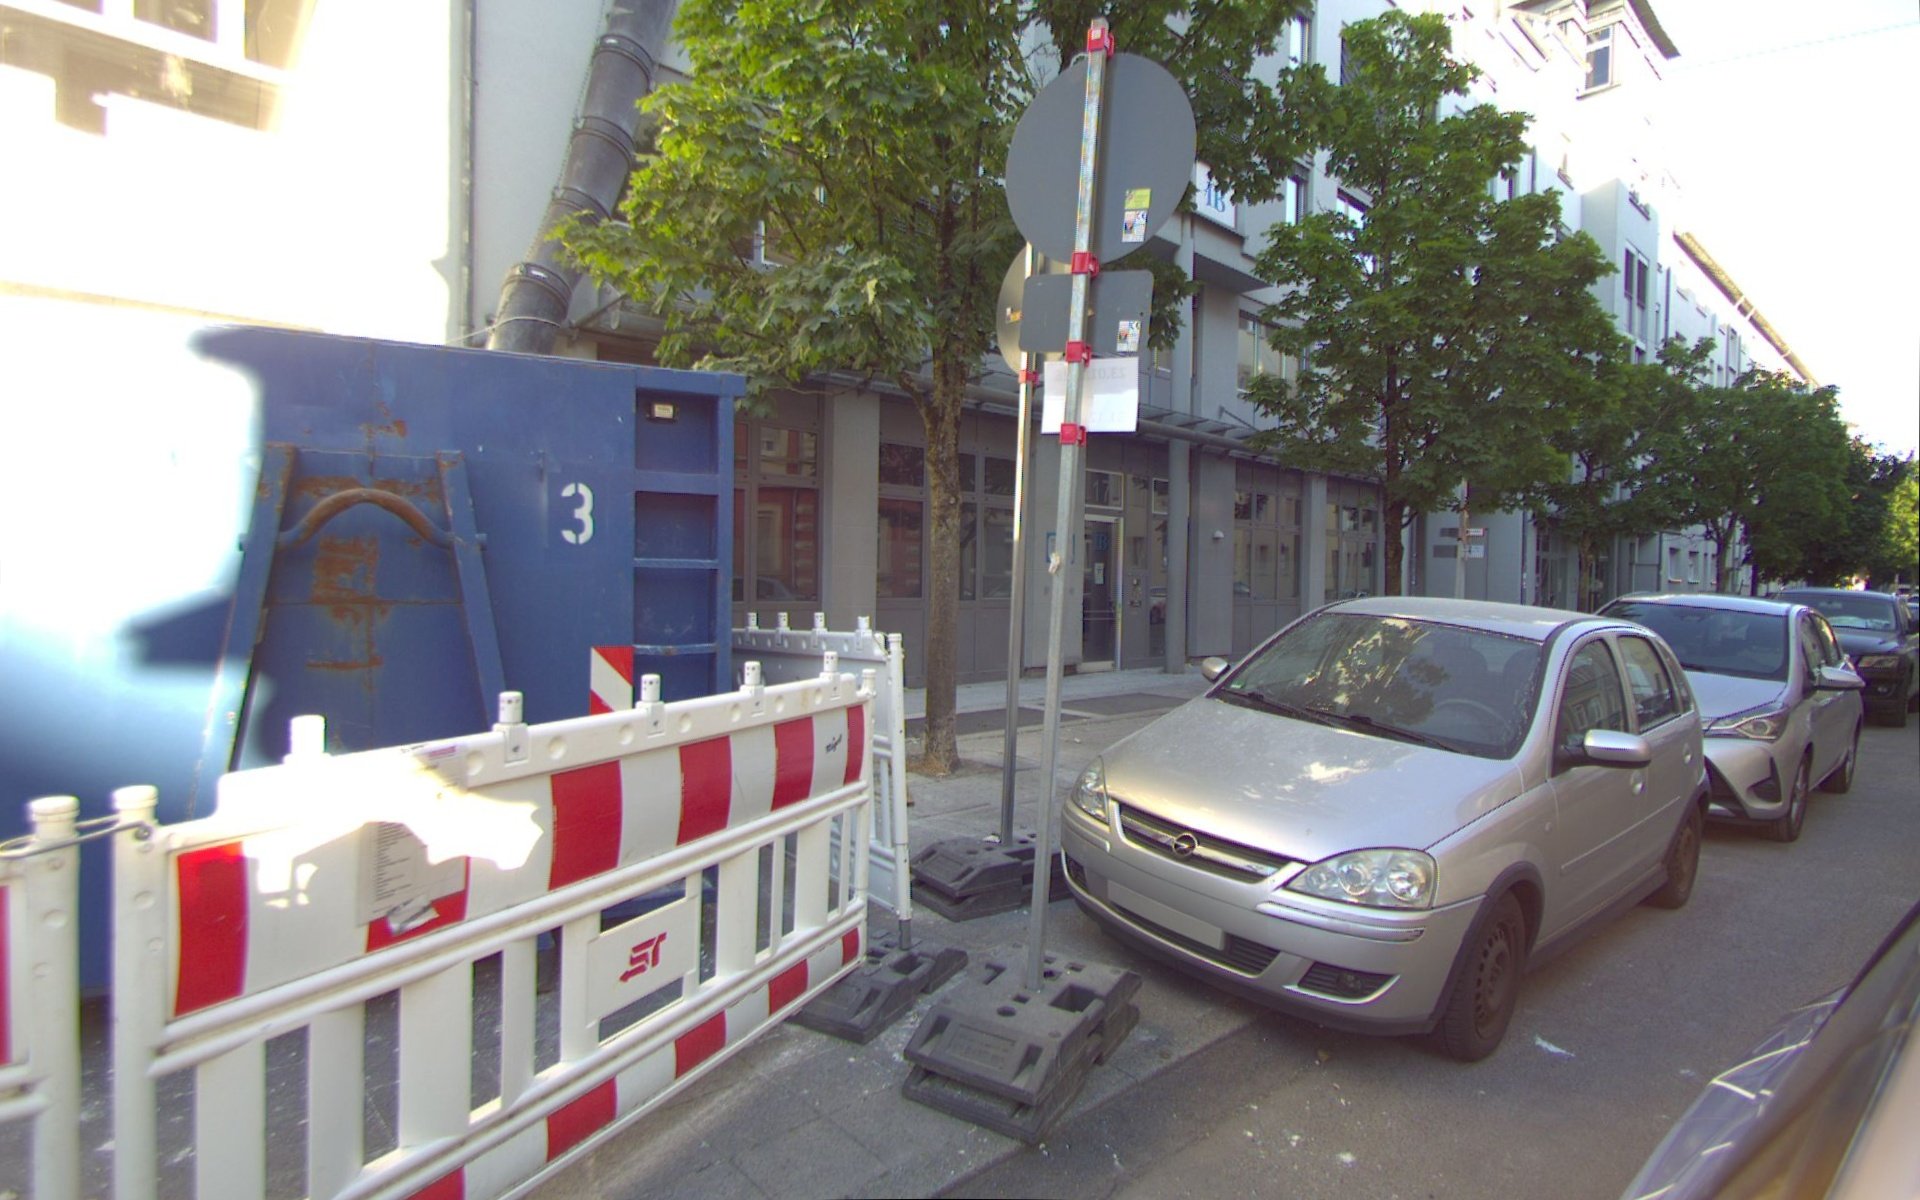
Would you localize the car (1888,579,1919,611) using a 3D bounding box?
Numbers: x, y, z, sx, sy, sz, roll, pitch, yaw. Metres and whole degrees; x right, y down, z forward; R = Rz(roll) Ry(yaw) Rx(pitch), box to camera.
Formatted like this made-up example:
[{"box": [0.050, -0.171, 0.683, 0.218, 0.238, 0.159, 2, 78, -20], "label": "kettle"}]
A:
[{"box": [61.119, -0.330, 65.055, 3.935, 2.039, 1.995, 0, 1, -45], "label": "car"}]

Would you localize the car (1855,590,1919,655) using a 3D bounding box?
[{"box": [23.405, 0.509, 24.878, 3.935, 1.507, 1.852, 0, 1, -45], "label": "car"}]

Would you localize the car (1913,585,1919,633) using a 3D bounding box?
[{"box": [35.218, 0.317, 35.977, 1.851, 1.680, 3.936, 1, 1, 44], "label": "car"}]

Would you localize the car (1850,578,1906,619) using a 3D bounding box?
[{"box": [48.613, -0.098, 53.574, 3.935, 2.039, 1.995, 0, 1, -45], "label": "car"}]

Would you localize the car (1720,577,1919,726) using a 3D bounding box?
[{"box": [11.960, 0.561, 13.720, 4.315, 1.710, 1.861, 0, 1, -42], "label": "car"}]

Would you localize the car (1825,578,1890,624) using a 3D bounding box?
[{"box": [41.873, 0.003, 47.177, 3.935, 2.039, 1.995, 0, 1, -45], "label": "car"}]

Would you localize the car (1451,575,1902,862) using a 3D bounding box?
[{"box": [5.556, 0.636, 7.677, 3.930, 1.605, 1.911, 0, 1, -41], "label": "car"}]

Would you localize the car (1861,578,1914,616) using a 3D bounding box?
[{"box": [51.895, -0.195, 56.602, 3.935, 2.039, 1.995, 0, 1, -45], "label": "car"}]

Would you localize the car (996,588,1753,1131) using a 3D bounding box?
[{"box": [2.181, 0.692, 4.701, 3.995, 1.465, 1.637, 0, 1, -41], "label": "car"}]
